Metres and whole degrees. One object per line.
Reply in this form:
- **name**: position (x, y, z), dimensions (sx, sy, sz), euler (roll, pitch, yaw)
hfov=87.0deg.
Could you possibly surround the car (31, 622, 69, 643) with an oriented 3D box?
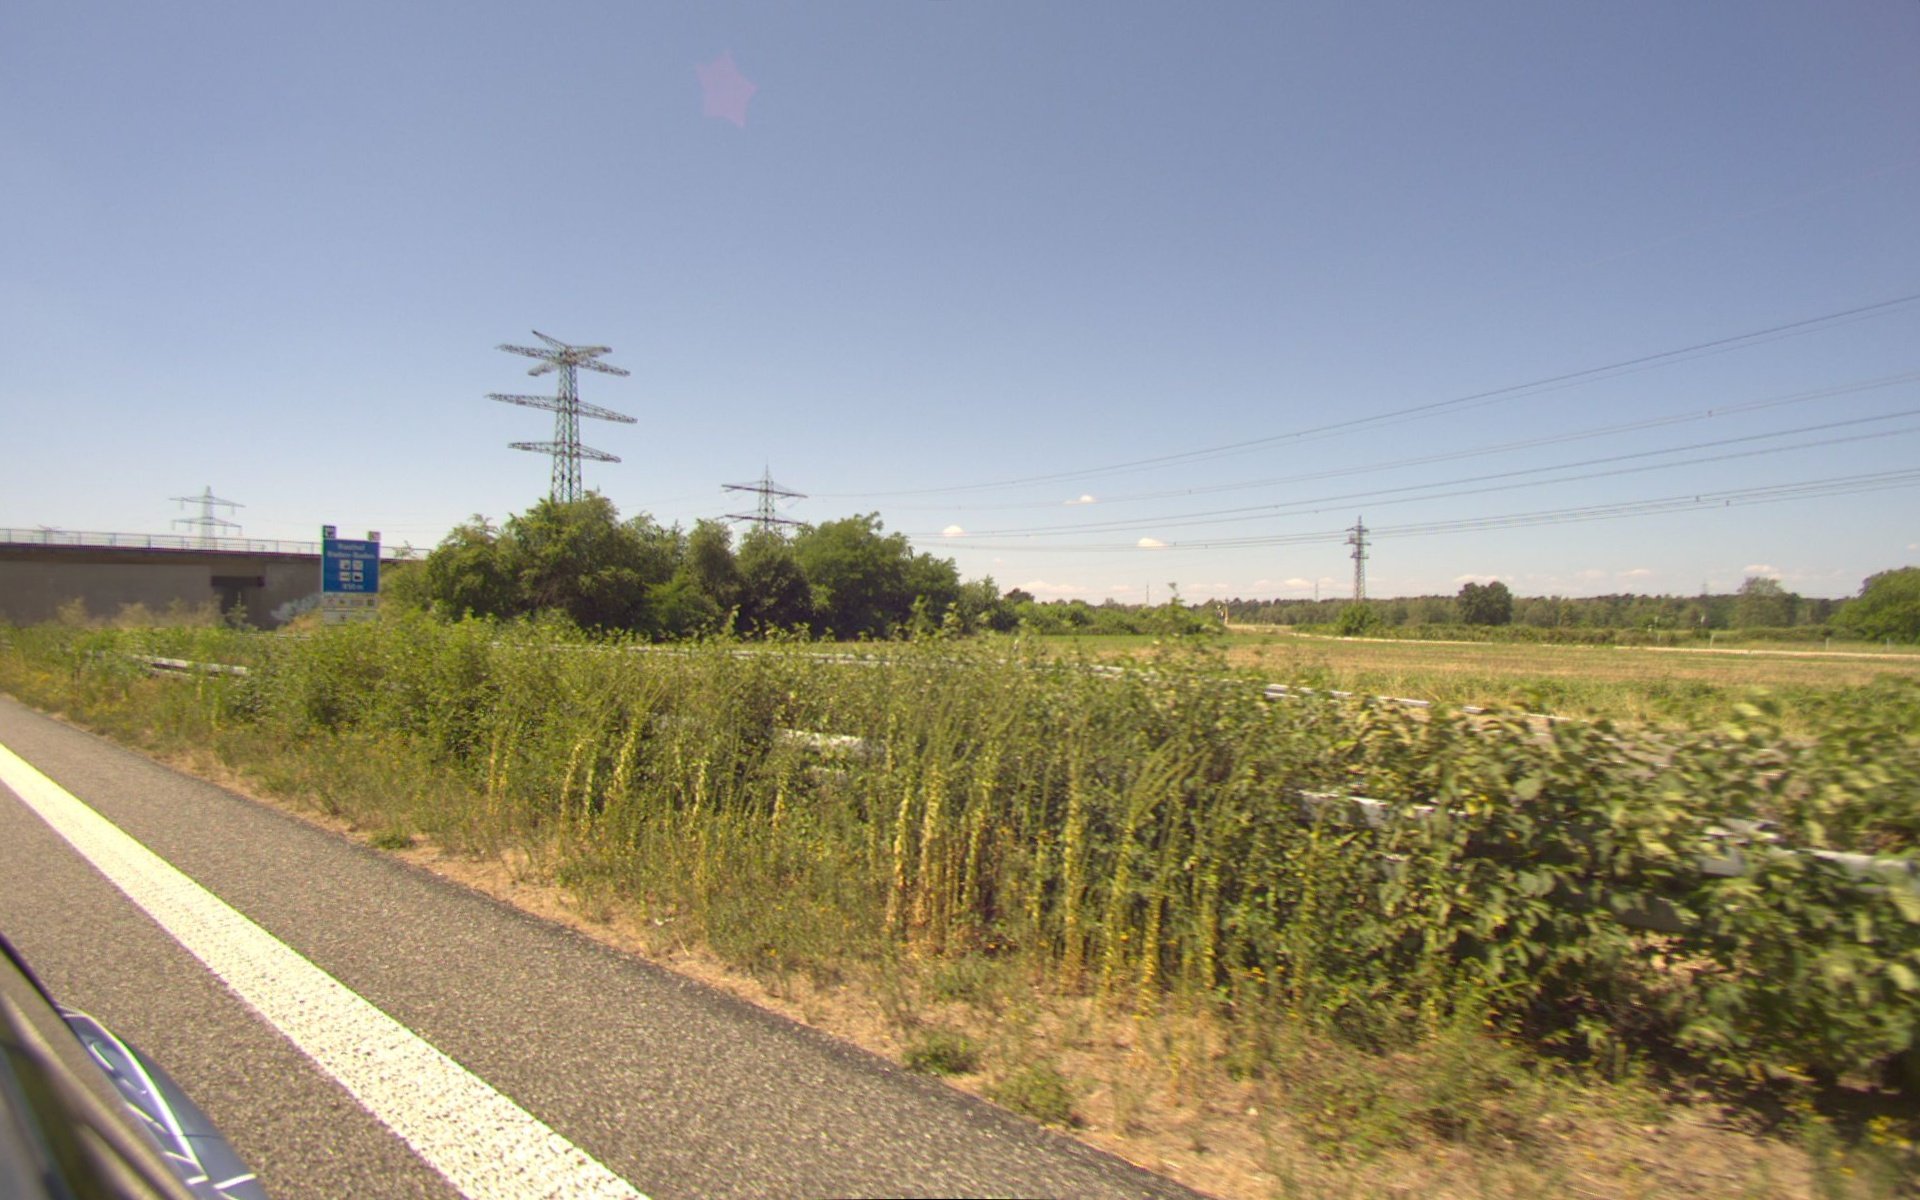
- **car**: position (-74.103, 2.648, 82.389), dimensions (4.010, 1.664, 1.822), euler (-2, -1, 41)

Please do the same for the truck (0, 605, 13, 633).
- **truck**: position (-135.041, 2.660, 141.156), dimensions (8.658, 3.892, 3.475), euler (-1, -1, 42)
